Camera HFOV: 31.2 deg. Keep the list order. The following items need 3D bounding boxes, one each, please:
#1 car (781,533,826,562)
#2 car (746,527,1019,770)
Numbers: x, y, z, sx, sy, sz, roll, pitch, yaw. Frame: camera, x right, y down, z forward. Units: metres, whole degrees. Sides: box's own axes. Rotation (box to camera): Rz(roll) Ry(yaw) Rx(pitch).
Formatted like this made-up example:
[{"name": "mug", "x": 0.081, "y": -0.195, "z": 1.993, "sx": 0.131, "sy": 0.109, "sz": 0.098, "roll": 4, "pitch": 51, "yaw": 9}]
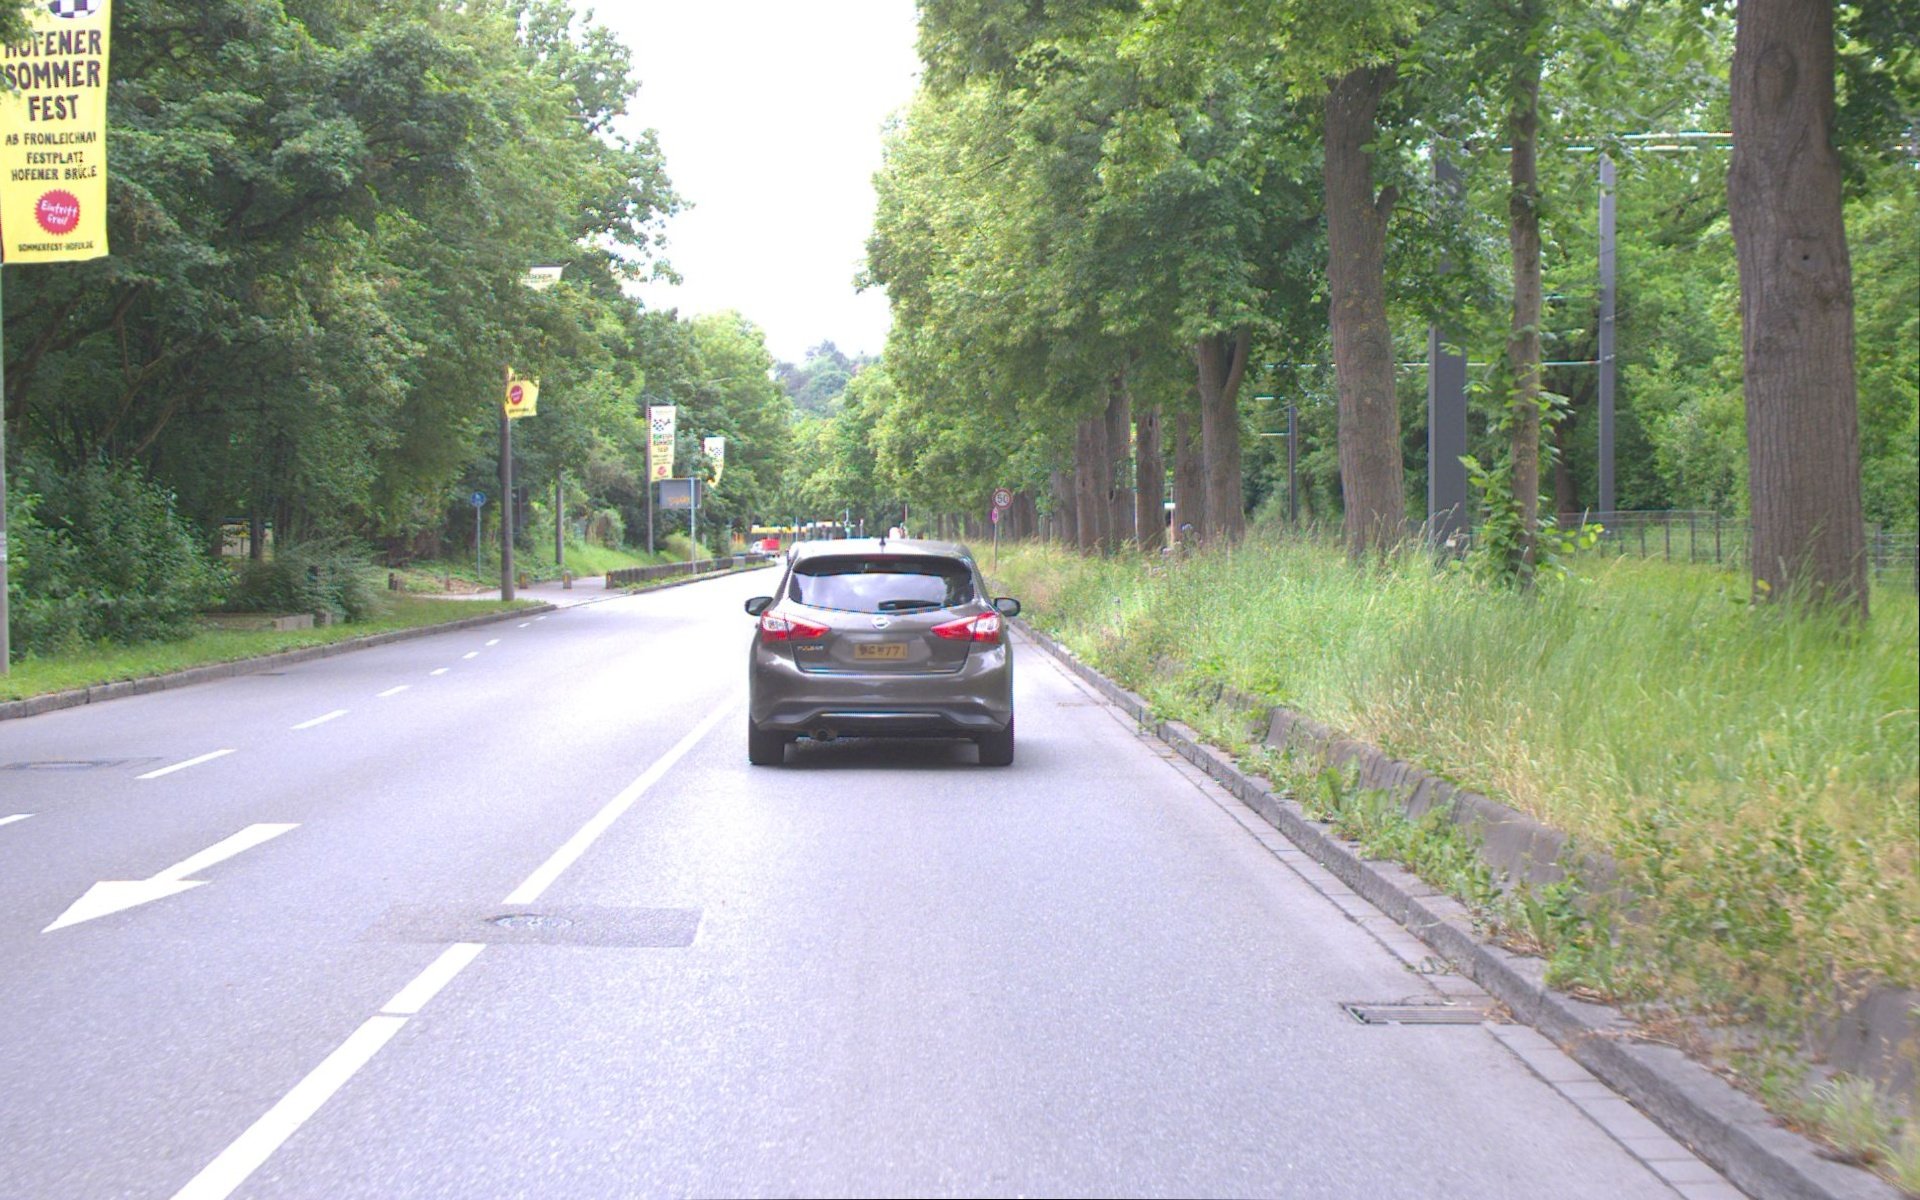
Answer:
[{"name": "car", "x": -8.023, "y": -2.702, "z": 176.489, "sx": 1.716, "sy": 1.423, "sz": 4.196, "roll": -2, "pitch": 1, "yaw": 5}, {"name": "car", "x": -0.550, "y": 0.293, "z": 23.884, "sx": 1.730, "sy": 1.532, "sz": 3.552, "roll": 1, "pitch": 1, "yaw": -2}]
